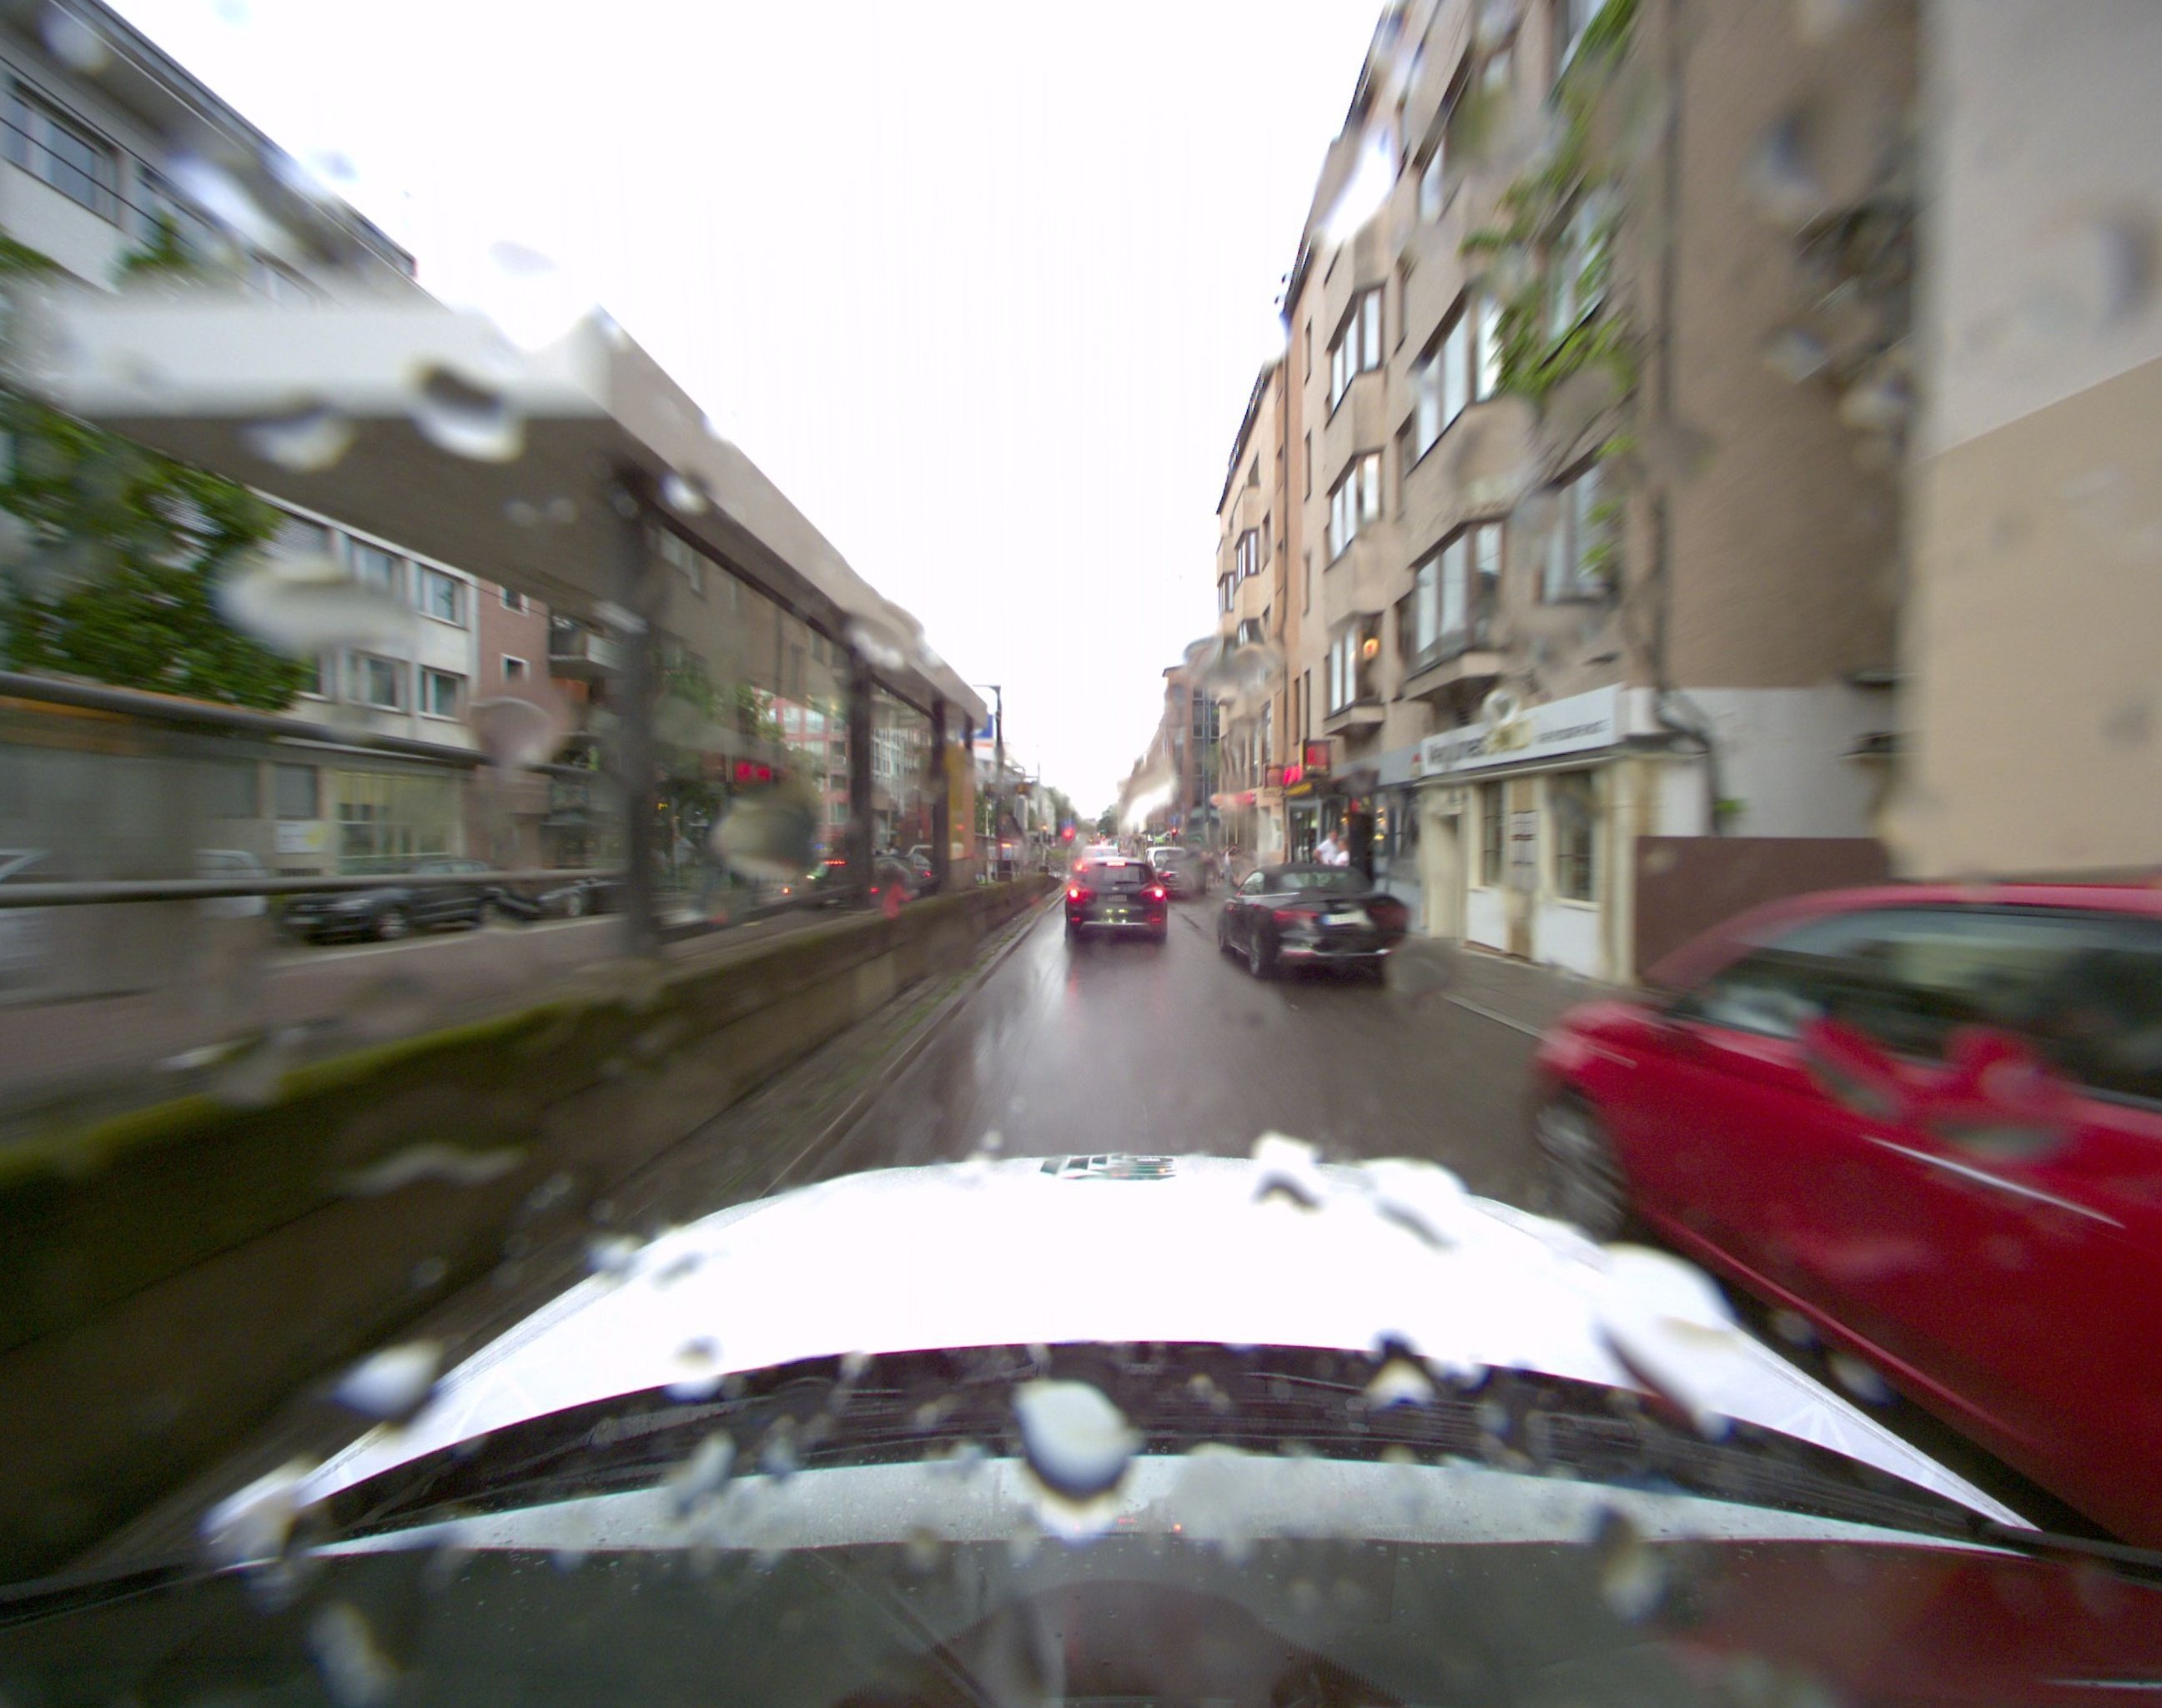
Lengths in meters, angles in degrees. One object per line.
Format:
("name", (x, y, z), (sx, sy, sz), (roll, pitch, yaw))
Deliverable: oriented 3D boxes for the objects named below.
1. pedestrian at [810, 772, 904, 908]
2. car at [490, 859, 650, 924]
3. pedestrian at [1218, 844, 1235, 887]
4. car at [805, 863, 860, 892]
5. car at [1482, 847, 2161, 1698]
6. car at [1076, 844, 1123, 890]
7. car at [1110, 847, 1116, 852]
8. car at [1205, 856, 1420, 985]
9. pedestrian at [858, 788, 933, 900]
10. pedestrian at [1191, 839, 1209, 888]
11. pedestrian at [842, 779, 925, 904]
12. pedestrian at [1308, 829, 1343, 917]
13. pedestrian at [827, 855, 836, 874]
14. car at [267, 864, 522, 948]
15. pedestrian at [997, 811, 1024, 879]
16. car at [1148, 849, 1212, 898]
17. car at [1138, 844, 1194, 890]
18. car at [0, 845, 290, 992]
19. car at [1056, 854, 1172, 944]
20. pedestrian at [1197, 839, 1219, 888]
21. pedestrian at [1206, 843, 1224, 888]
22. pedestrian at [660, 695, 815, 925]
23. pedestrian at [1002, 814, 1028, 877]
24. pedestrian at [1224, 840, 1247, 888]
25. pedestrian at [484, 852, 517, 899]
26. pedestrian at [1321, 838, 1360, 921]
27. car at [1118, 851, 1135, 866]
("pedestrian", (-2.248, -0.136, 8.239), (0.725, 1.302, 0.701), (-1, -1, 1))
("car", (-14.195, 0.968, 22.964), (1.632, 1.624, 4.373), (-1, 0, 2))
("pedestrian", (5.914, 0.461, 33.085), (0.573, 1.714, 0.477), (-1, -1, 2))
("car", (-12.192, 1.129, 40.174), (1.634, 1.338, 3.733), (-1, 0, -1))
("car", (2.703, 0.716, 2.212), (1.639, 1.462, 3.415), (-1, 0, 2))
("car", (0.841, 0.541, 35.330), (1.899, 1.864, 4.576), (-1, 0, 2))
("car", (10.028, -1.335, 254.844), (1.899, 1.633, 4.577), (-1, 0, 3))
("car", (2.985, 0.781, 11.498), (1.900, 1.462, 4.246), (-1, 0, 1))
("pedestrian", (-2.252, -0.114, 9.957), (0.725, 1.302, 0.701), (-1, -1, -1))
("pedestrian", (4.781, 0.388, 32.708), (0.649, 1.948, 0.534), (-1, -1, 2))
("pedestrian", (-2.160, -0.133, 8.966), (0.725, 1.302, 0.701), (-1, -1, -1))
("pedestrian", (5.303, 0.407, 17.664), (0.528, 1.858, 0.555), (-1, -1, -6))
("pedestrian", (-21.658, 0.893, 70.743), (0.548, 1.632, 0.568), (1, -1, -35))
("car", (-14.389, 0.997, 17.465), (1.632, 1.536, 4.373), (-1, 0, 2))
("pedestrian", (-1.719, -0.216, 19.931), (0.581, 1.609, 0.701), (-1, -1, -1))
("car", (3.426, 0.654, 29.004), (1.899, 1.615, 4.415), (-1, 0, 2))
("car", (3.566, 0.539, 34.880), (1.900, 1.806, 4.776), (-1, 0, 0))
("car", (-14.546, 0.829, 11.418), (1.902, 1.844, 5.253), (-1, 0, -2))
("car", (0.612, 0.756, 15.139), (1.899, 1.462, 3.446), (-1, 0, 2))
("pedestrian", (4.839, 0.369, 31.054), (0.692, 1.855, 0.653), (-1, -1, 3))
("pedestrian", (5.221, 0.458, 31.759), (0.608, 1.714, 0.581), (-1, -1, 3))
("pedestrian", (-2.706, -0.333, 6.500), (0.914, 1.724, 0.701), (-1, -1, -1))
("pedestrian", (-1.673, -0.213, 20.639), (0.581, 1.557, 0.701), (-1, -1, -1))
("pedestrian", (5.911, 0.378, 31.216), (0.753, 1.819, 0.588), (-1, -1, 2))
("pedestrian", (-19.475, 0.706, 27.325), (0.697, 1.557, 0.584), (-1, -1, -5))
("pedestrian", (5.396, 0.514, 16.929), (0.544, 1.681, 0.594), (-1, -1, -6))
("car", (4.669, 0.455, 83.950), (1.691, 1.479, 3.870), (-3, 0, 3))
